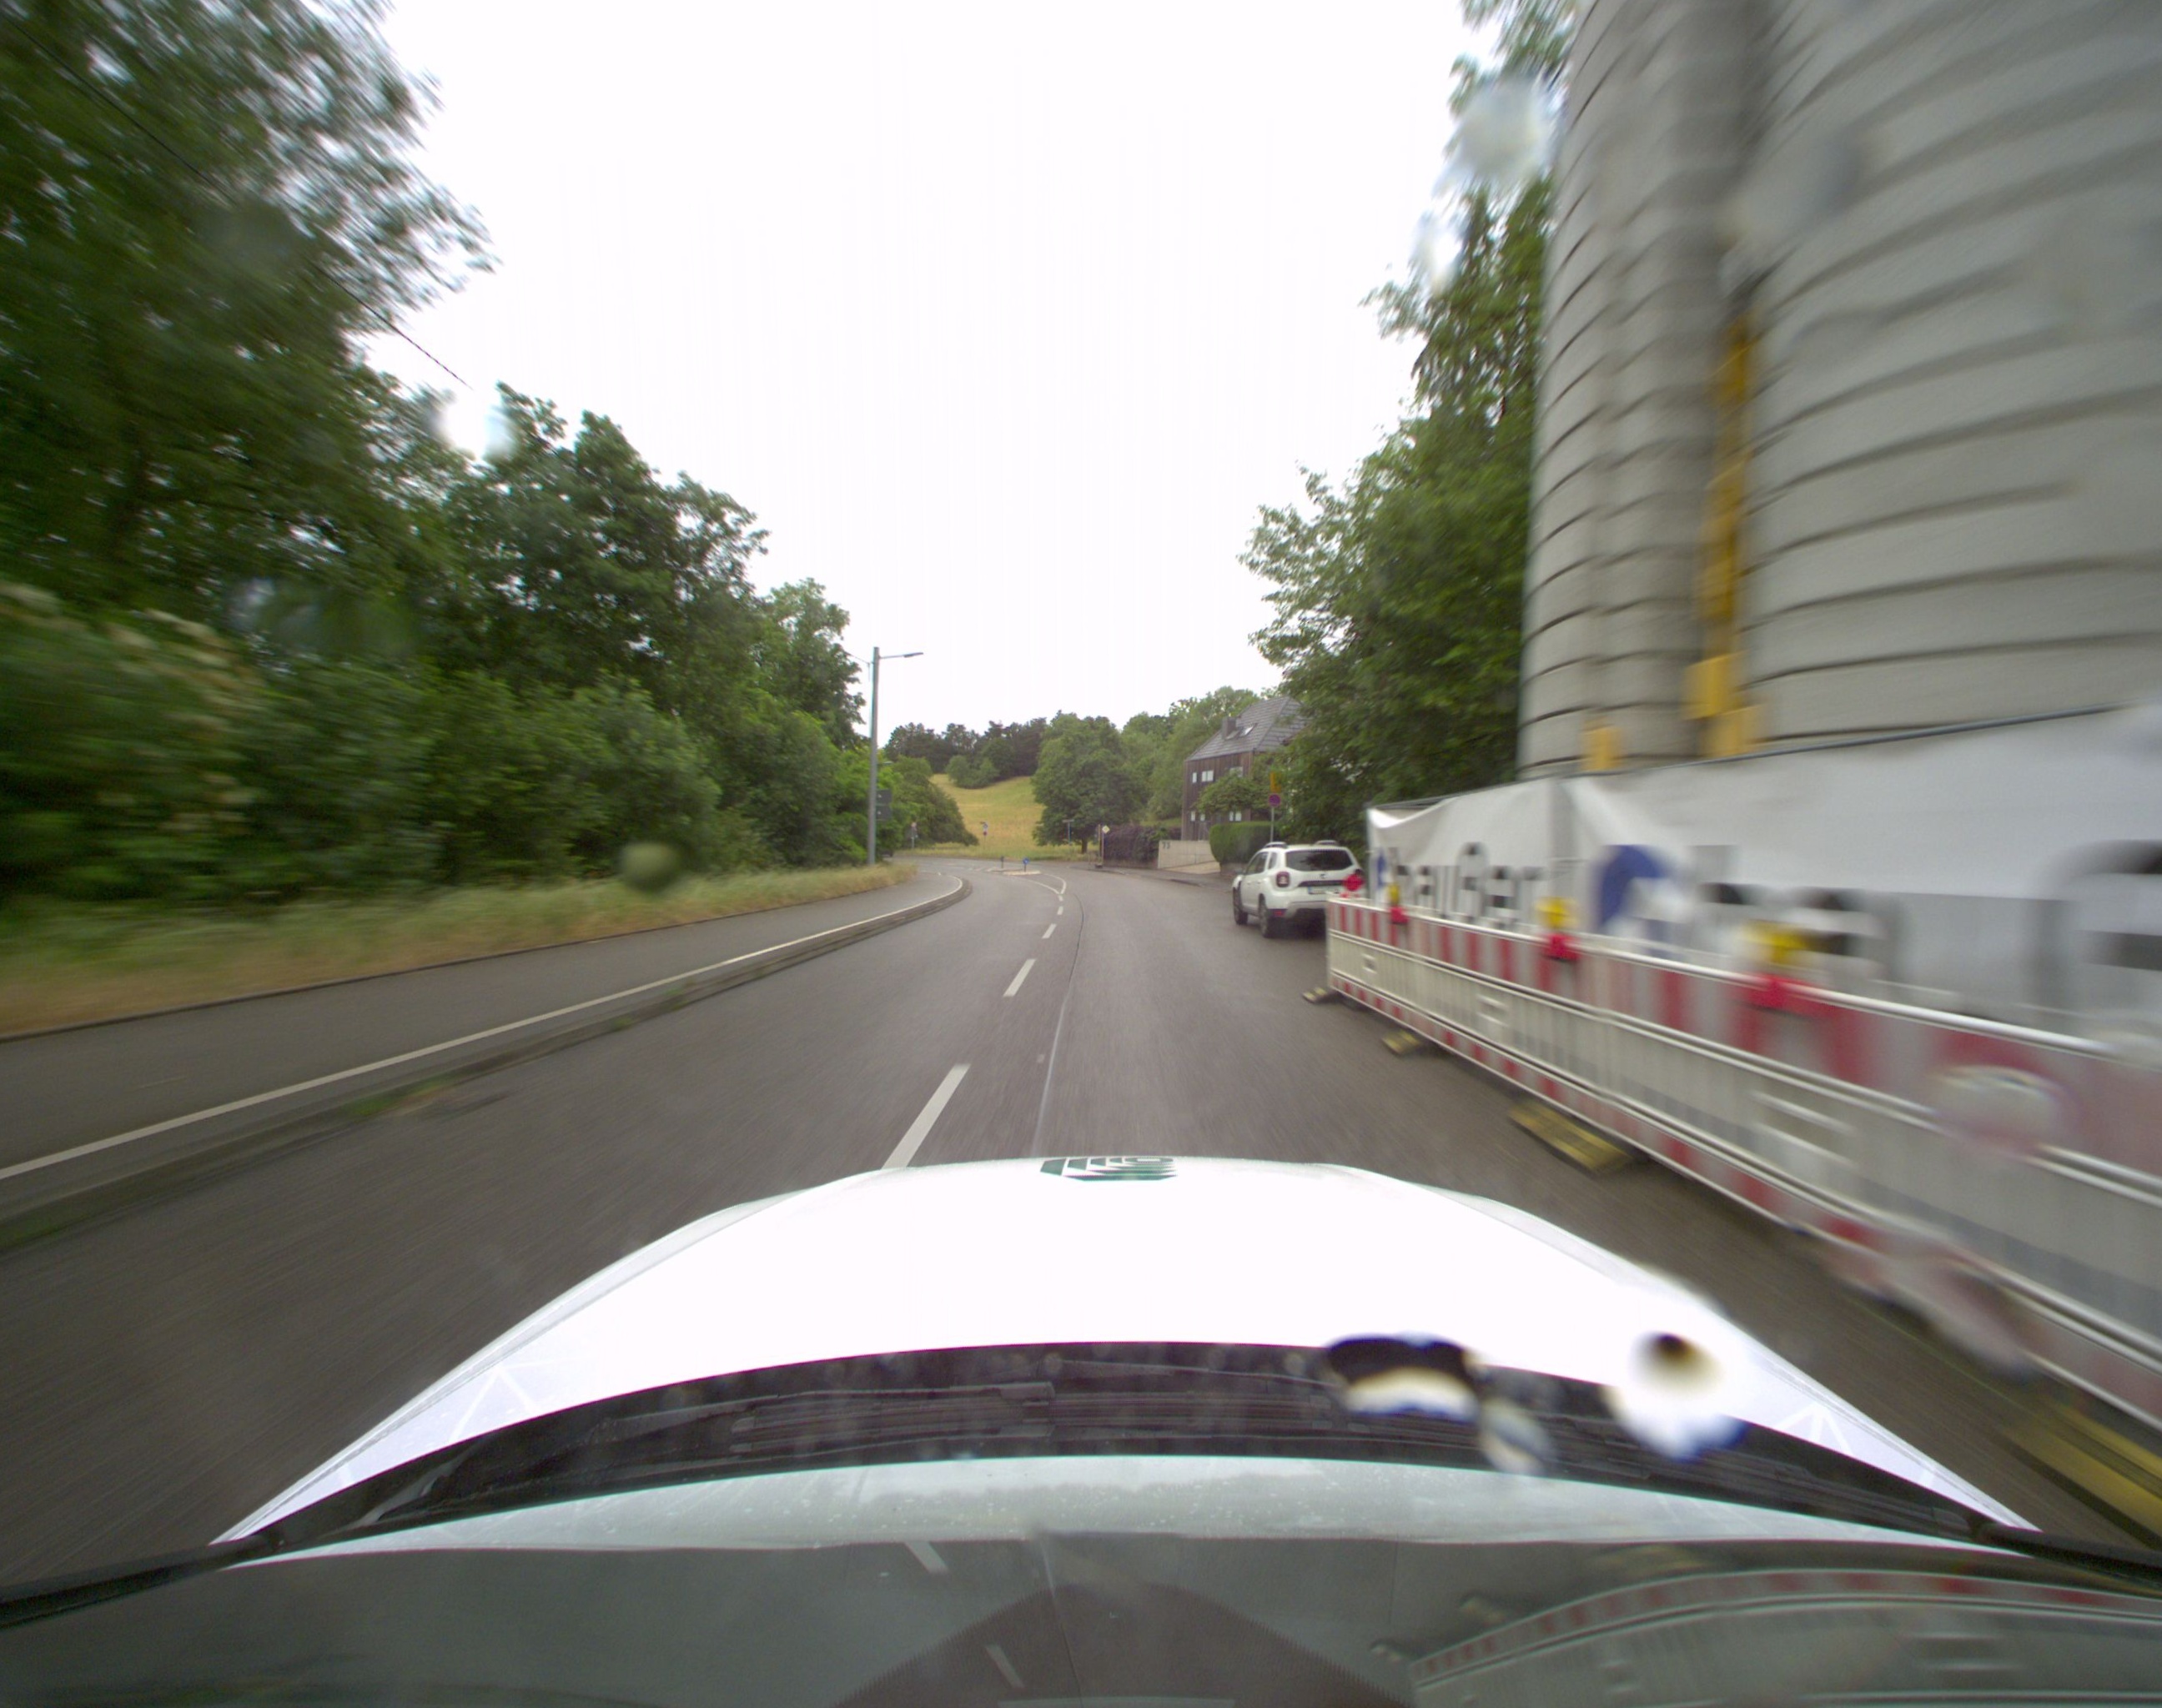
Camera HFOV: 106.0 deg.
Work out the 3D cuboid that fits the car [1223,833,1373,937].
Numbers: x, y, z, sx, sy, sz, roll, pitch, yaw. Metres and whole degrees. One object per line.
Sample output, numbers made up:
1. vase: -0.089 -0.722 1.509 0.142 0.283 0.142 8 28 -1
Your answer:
1. car: 4.016 0.503 15.834 1.739 1.706 4.501 -1 0 0
